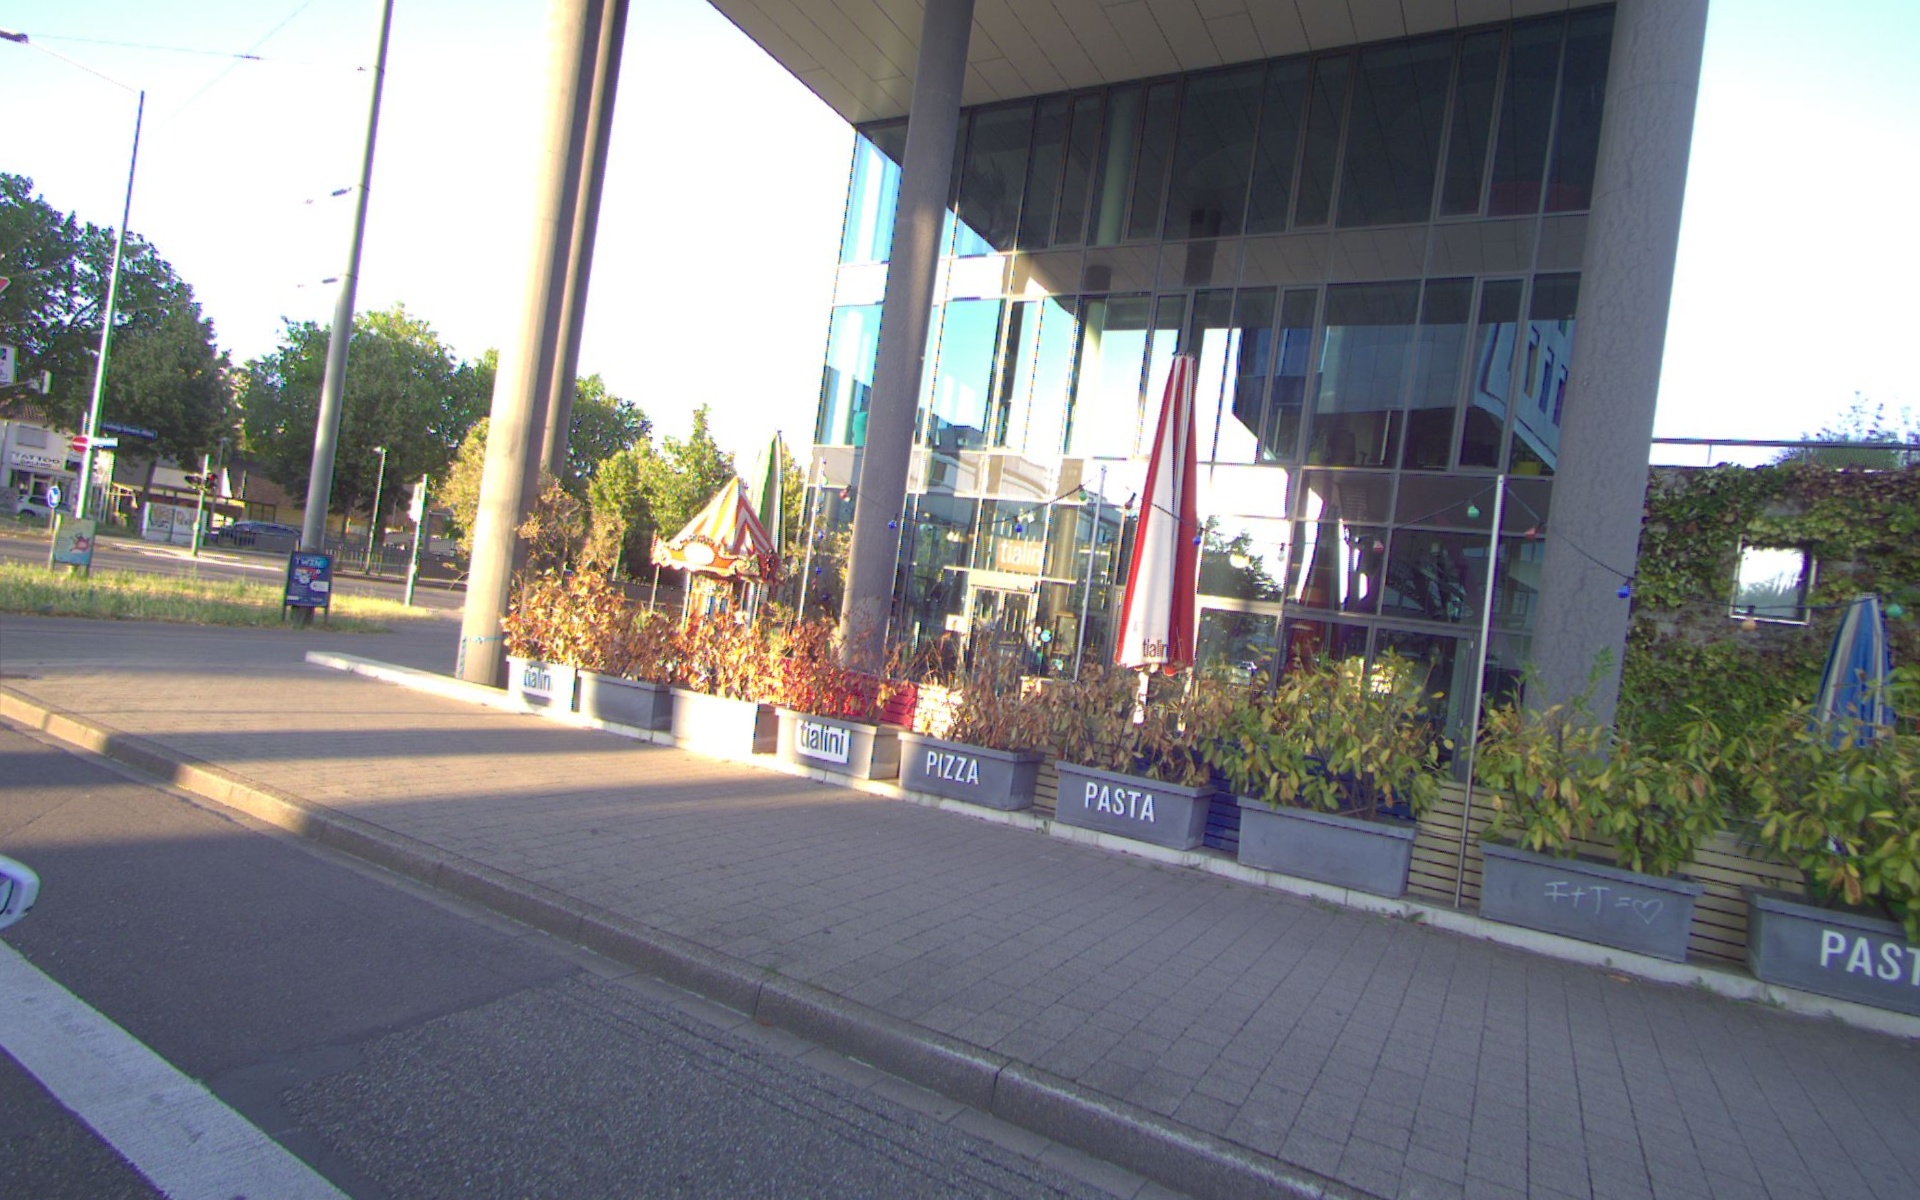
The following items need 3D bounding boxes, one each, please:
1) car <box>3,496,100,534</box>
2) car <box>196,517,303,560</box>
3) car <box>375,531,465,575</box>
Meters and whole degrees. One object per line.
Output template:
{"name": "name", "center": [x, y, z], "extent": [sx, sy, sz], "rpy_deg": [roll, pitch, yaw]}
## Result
{"name": "car", "center": [-50.457, -4.708, 55.906], "extent": [1.641, 1.456, 3.736], "rpy_deg": [6, -2, 41]}
{"name": "car", "center": [-33.924, -2.922, 48.084], "extent": [1.637, 1.456, 3.745], "rpy_deg": [6, -2, 33]}
{"name": "car", "center": [-42.616, -3.693, 79.504], "extent": [2.197, 2.581, 5.594], "rpy_deg": [7, -2, 39]}
